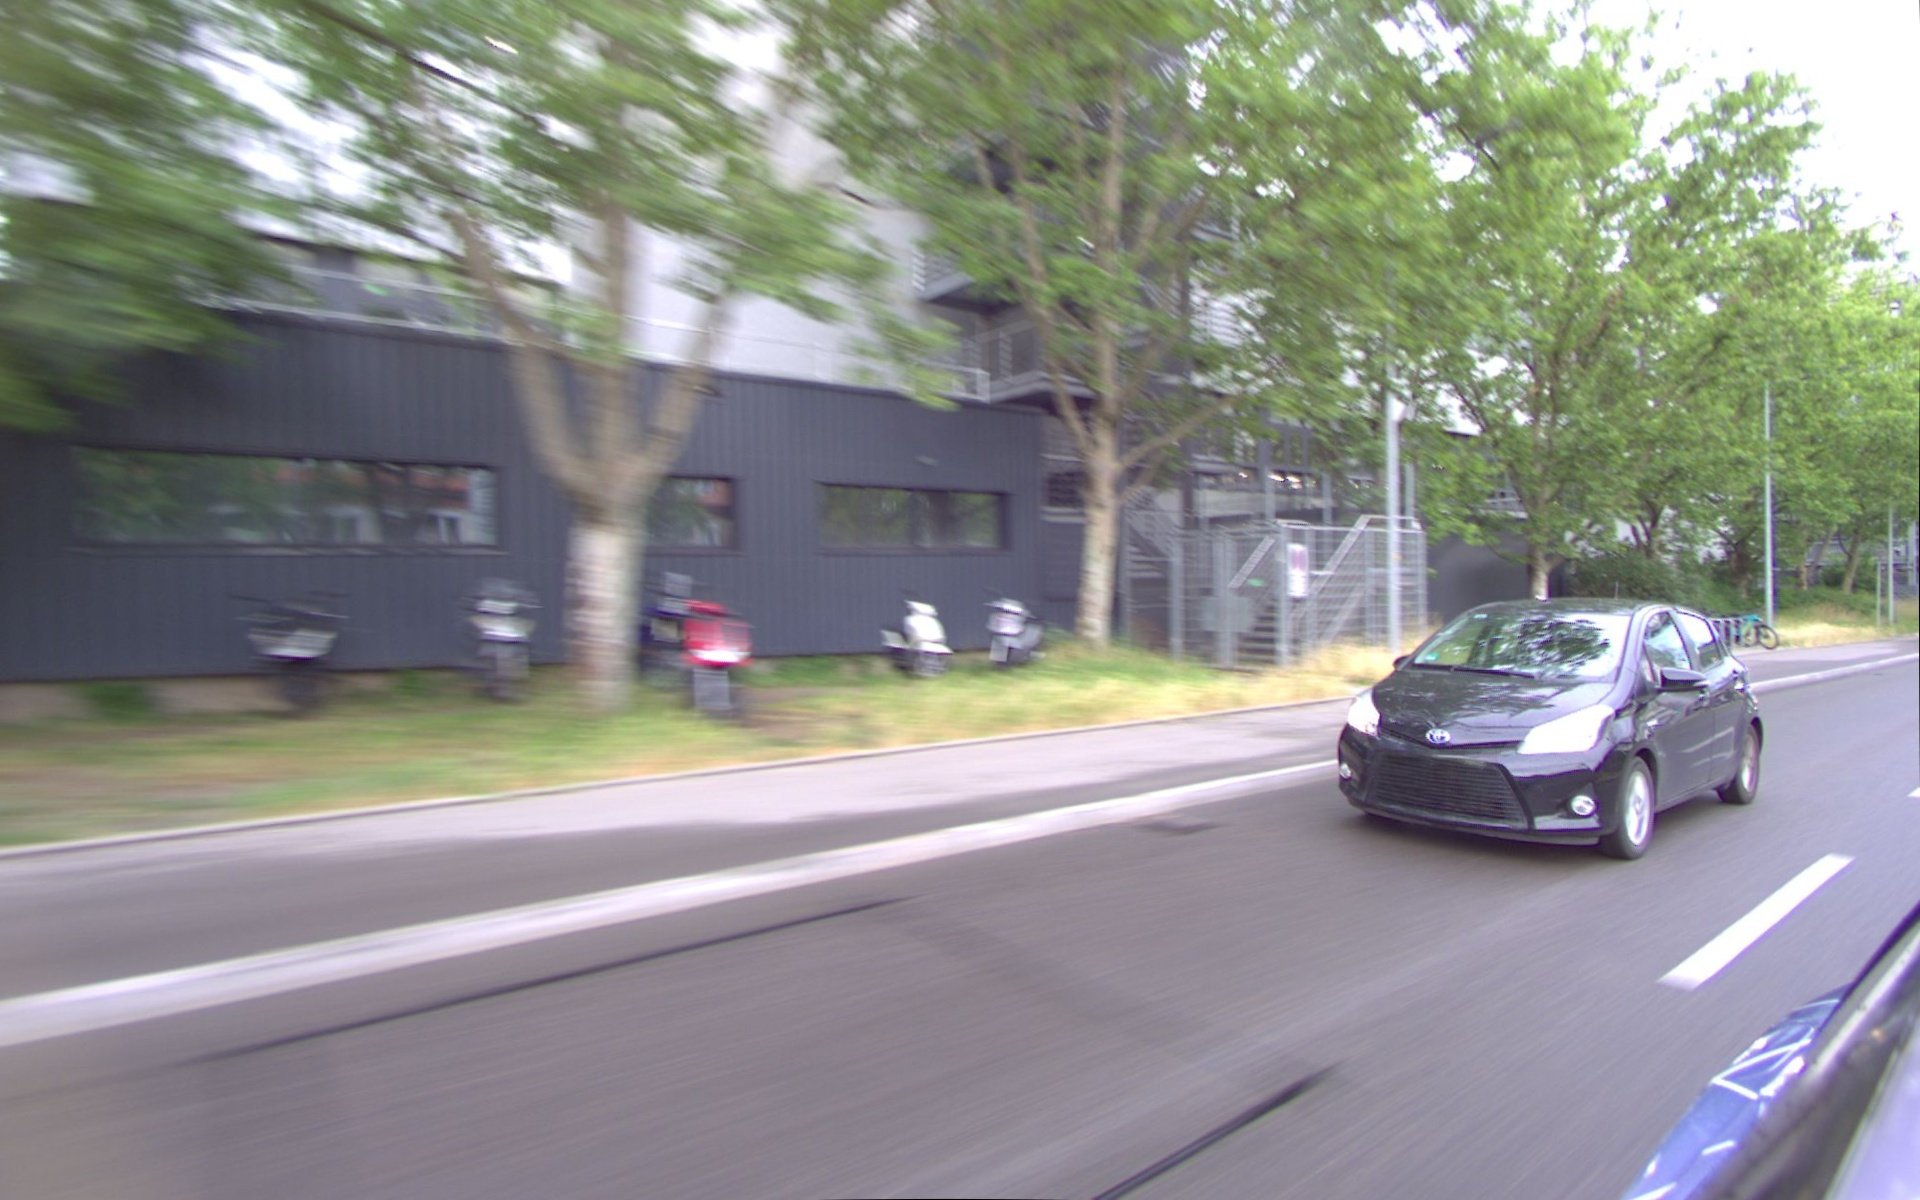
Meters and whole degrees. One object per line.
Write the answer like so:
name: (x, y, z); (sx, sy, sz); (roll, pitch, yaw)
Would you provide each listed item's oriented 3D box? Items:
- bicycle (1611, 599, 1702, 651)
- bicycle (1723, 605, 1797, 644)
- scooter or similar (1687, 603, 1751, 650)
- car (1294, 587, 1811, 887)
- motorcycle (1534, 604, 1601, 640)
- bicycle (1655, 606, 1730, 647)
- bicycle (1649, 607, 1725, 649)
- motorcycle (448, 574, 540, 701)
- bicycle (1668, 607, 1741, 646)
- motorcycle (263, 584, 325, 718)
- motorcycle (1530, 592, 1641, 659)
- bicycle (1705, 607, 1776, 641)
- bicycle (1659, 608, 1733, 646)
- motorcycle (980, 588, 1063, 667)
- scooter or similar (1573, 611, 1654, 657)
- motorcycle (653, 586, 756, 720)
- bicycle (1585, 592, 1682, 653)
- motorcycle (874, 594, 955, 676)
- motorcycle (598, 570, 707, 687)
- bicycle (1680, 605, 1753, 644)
bicycle: (17.111, 0.593, 24.899); (0.440, 1.182, 1.789); (0, 1, -44)
bicycle: (22.213, 0.659, 28.135); (0.386, 1.017, 1.555); (0, 1, -39)
scooter or similar: (18.634, 0.641, 24.866); (0.307, 1.105, 1.214); (0, 1, -43)
car: (4.457, 0.679, 7.274); (4.558, 1.488, 1.748); (-1, 0, -40)
motorcycle: (18.289, 0.642, 30.491); (0.567, 1.014, 1.611); (0, 1, -39)
bicycle: (19.454, 0.688, 26.894); (0.386, 1.017, 1.555); (0, 1, -39)
bicycle: (18.885, 0.714, 26.316); (0.386, 1.017, 1.555); (0, 1, -39)
motorcycle: (-5.416, 0.417, 11.725); (0.498, 1.382, 1.499); (0, -1, -44)
bicycle: (20.256, 0.710, 27.560); (0.386, 0.970, 1.555); (0, 1, -39)
motorcycle: (-6.936, 0.501, 10.560); (0.482, 1.273, 1.921); (-1, -1, -33)
motorcycle: (13.008, 0.501, 21.120); (0.432, 1.289, 2.019); (0, 1, -26)
bicycle: (23.062, 0.696, 29.910); (0.380, 0.951, 1.611); (0, 1, -39)
bicycle: (19.889, 0.713, 27.365); (0.386, 0.970, 1.555); (0, 1, -39)
motorcycle: (0.990, 0.401, 15.837); (0.474, 1.160, 1.877); (-2, -1, 30)
scooter or similar: (14.273, 0.733, 22.127); (1.467, 0.948, 0.362); (1, 1, 34)
motorcycle: (-2.466, 0.474, 9.641); (0.483, 1.165, 1.659); (-1, -1, -31)
bicycle: (15.791, 0.502, 23.771); (1.855, 1.365, 0.441); (1, 1, 39)
motorcycle: (-0.716, 0.514, 15.313); (0.548, 1.160, 1.646); (-1, -1, -28)
motorcycle: (-3.949, 0.356, 12.904); (0.498, 1.382, 1.929); (0, -1, -44)
bicycle: (20.988, 0.661, 28.094); (0.386, 1.017, 1.555); (0, 1, -39)
